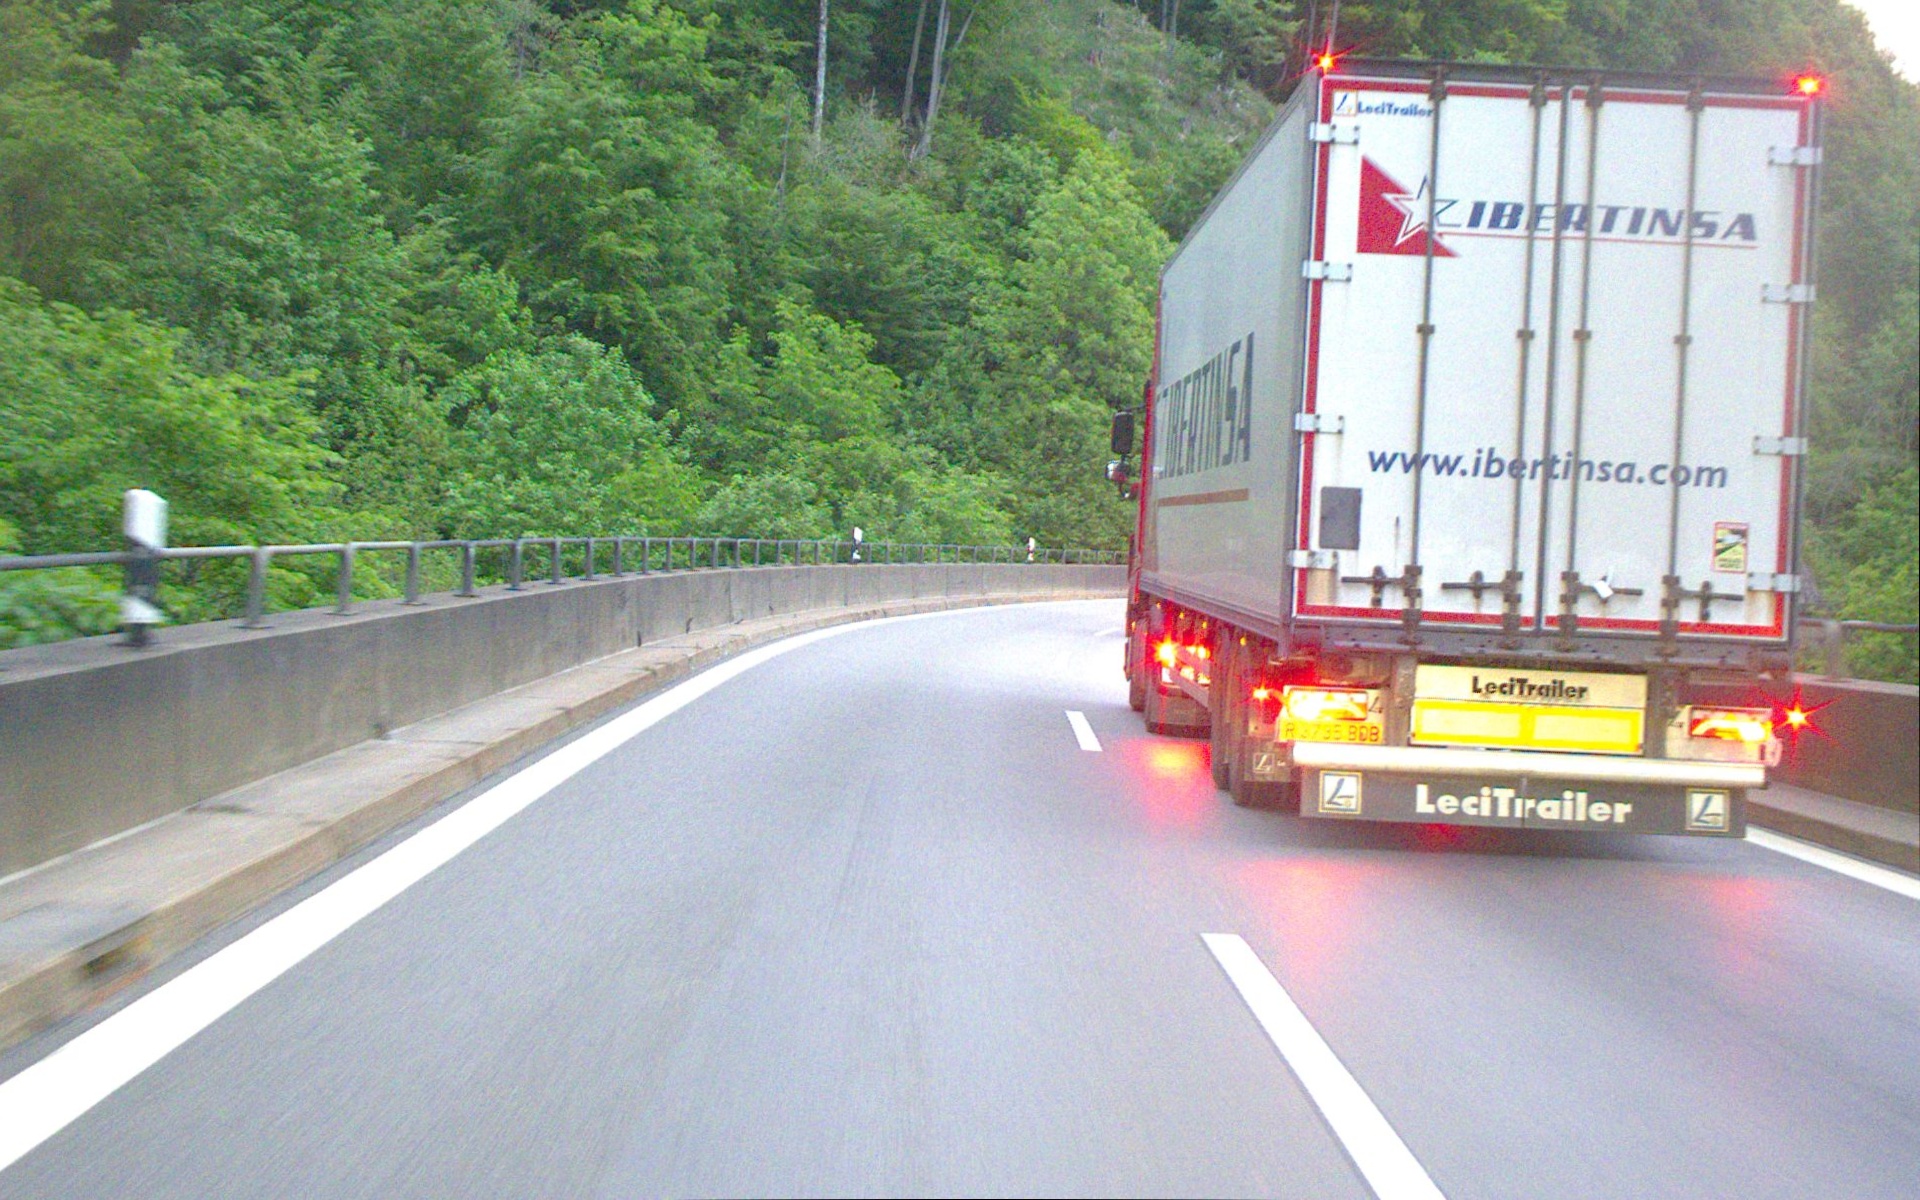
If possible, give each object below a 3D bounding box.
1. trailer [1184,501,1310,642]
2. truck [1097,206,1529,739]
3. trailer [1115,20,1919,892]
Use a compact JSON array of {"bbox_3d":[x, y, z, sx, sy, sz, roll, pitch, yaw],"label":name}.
[{"bbox_3d":[5.495,-0.608,65.246,2.055,2.366,5.937,6,2,5],"label":"trailer"},{"bbox_3d":[2.949,-1.054,30.717,3.069,4.130,6.447,-2,1,0],"label":"truck"},{"bbox_3d":[3.082,-0.773,23.418,3.097,3.956,14.218,3,1,0],"label":"trailer"}]
